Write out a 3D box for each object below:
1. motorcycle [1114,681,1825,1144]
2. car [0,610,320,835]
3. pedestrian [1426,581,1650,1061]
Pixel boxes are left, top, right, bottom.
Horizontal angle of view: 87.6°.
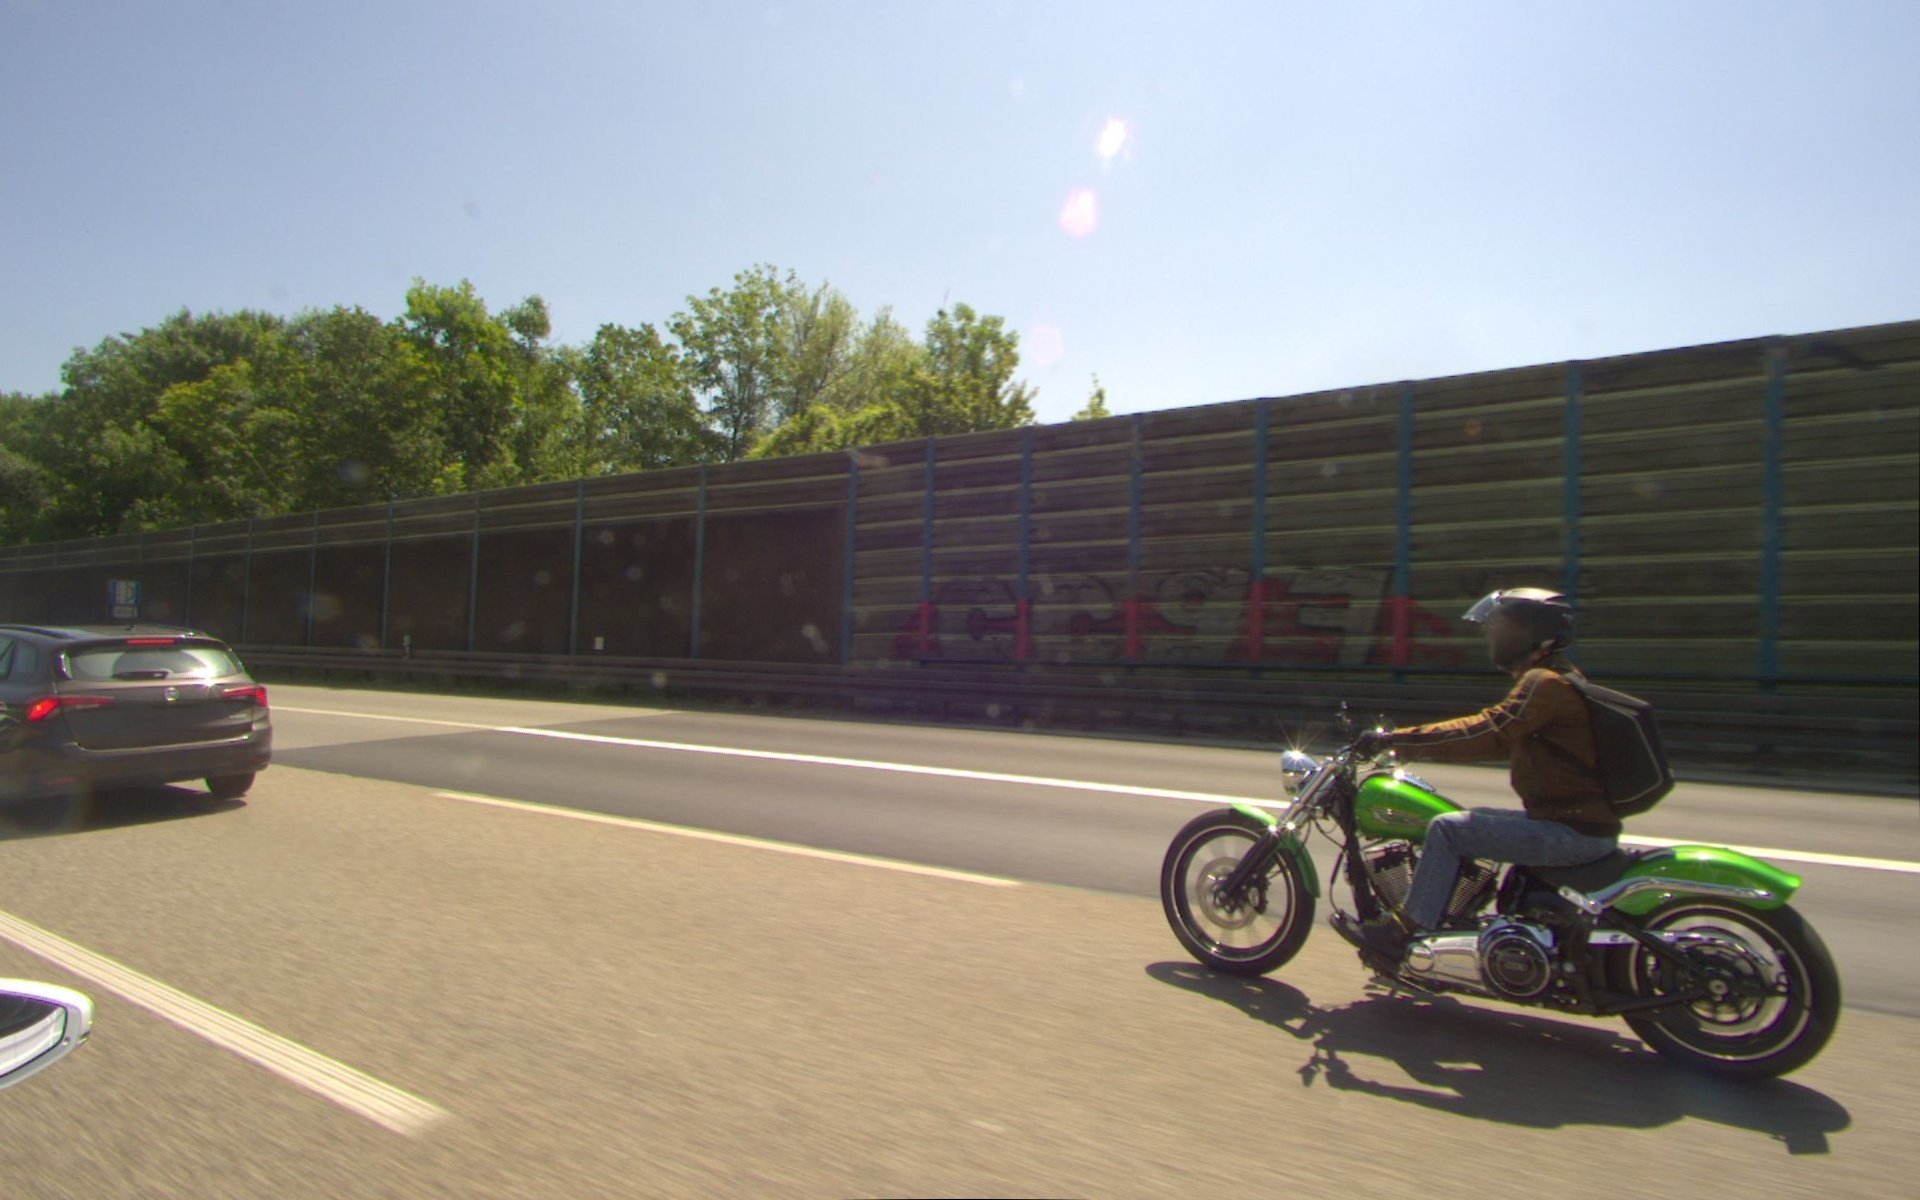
[{"bbox_3d":[1.808,0.978,3.884,2.246,1.197,0.857,0,-1,35],"label":"motorcycle"},{"bbox_3d":[-7.724,0.871,8.798,4.337,1.533,1.836,0,-1,32],"label":"car"},{"bbox_3d":[2.129,0.701,3.660,0.629,1.498,0.849,0,-1,35],"label":"pedestrian"}]
